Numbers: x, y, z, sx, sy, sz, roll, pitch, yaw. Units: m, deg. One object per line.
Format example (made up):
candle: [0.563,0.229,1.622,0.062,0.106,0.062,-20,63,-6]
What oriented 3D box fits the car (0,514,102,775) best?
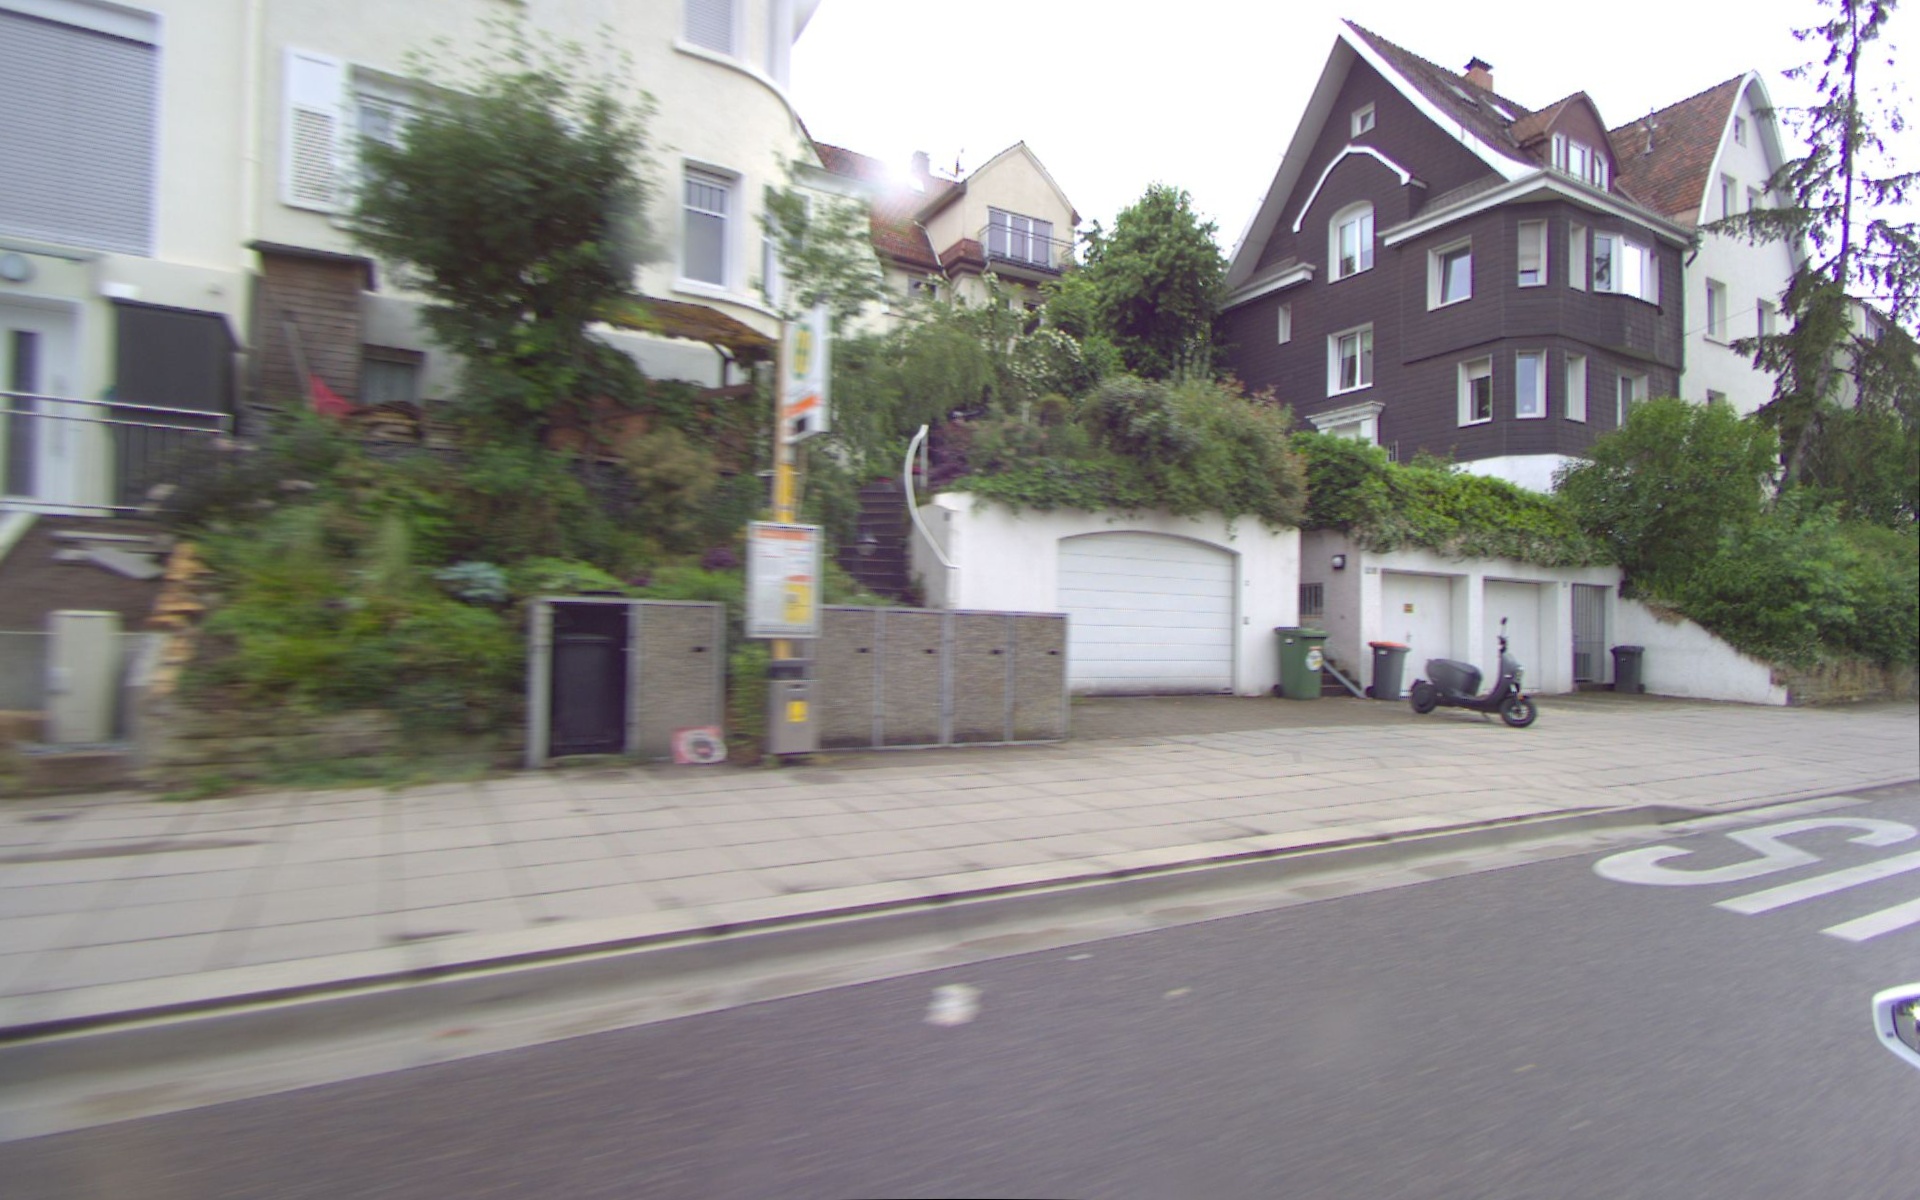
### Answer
car: [-8.204,0.312,6.396,3.959,1.719,1.754,-1,0,-35]

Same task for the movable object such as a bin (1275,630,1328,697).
movable object such as a bin: [5.181,0.952,15.230,0.508,0.966,0.570,-1,0,-35]

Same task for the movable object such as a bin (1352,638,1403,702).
movable object such as a bin: [6.729,1.118,16.192,0.508,0.966,0.570,-1,0,-35]

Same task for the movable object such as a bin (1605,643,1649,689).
movable object such as a bin: [13.352,1.315,20.129,0.609,0.901,0.488,0,0,16]

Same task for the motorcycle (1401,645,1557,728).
motorcycle: [6.890,1.114,13.430,0.596,0.915,1.785,1,1,-30]
